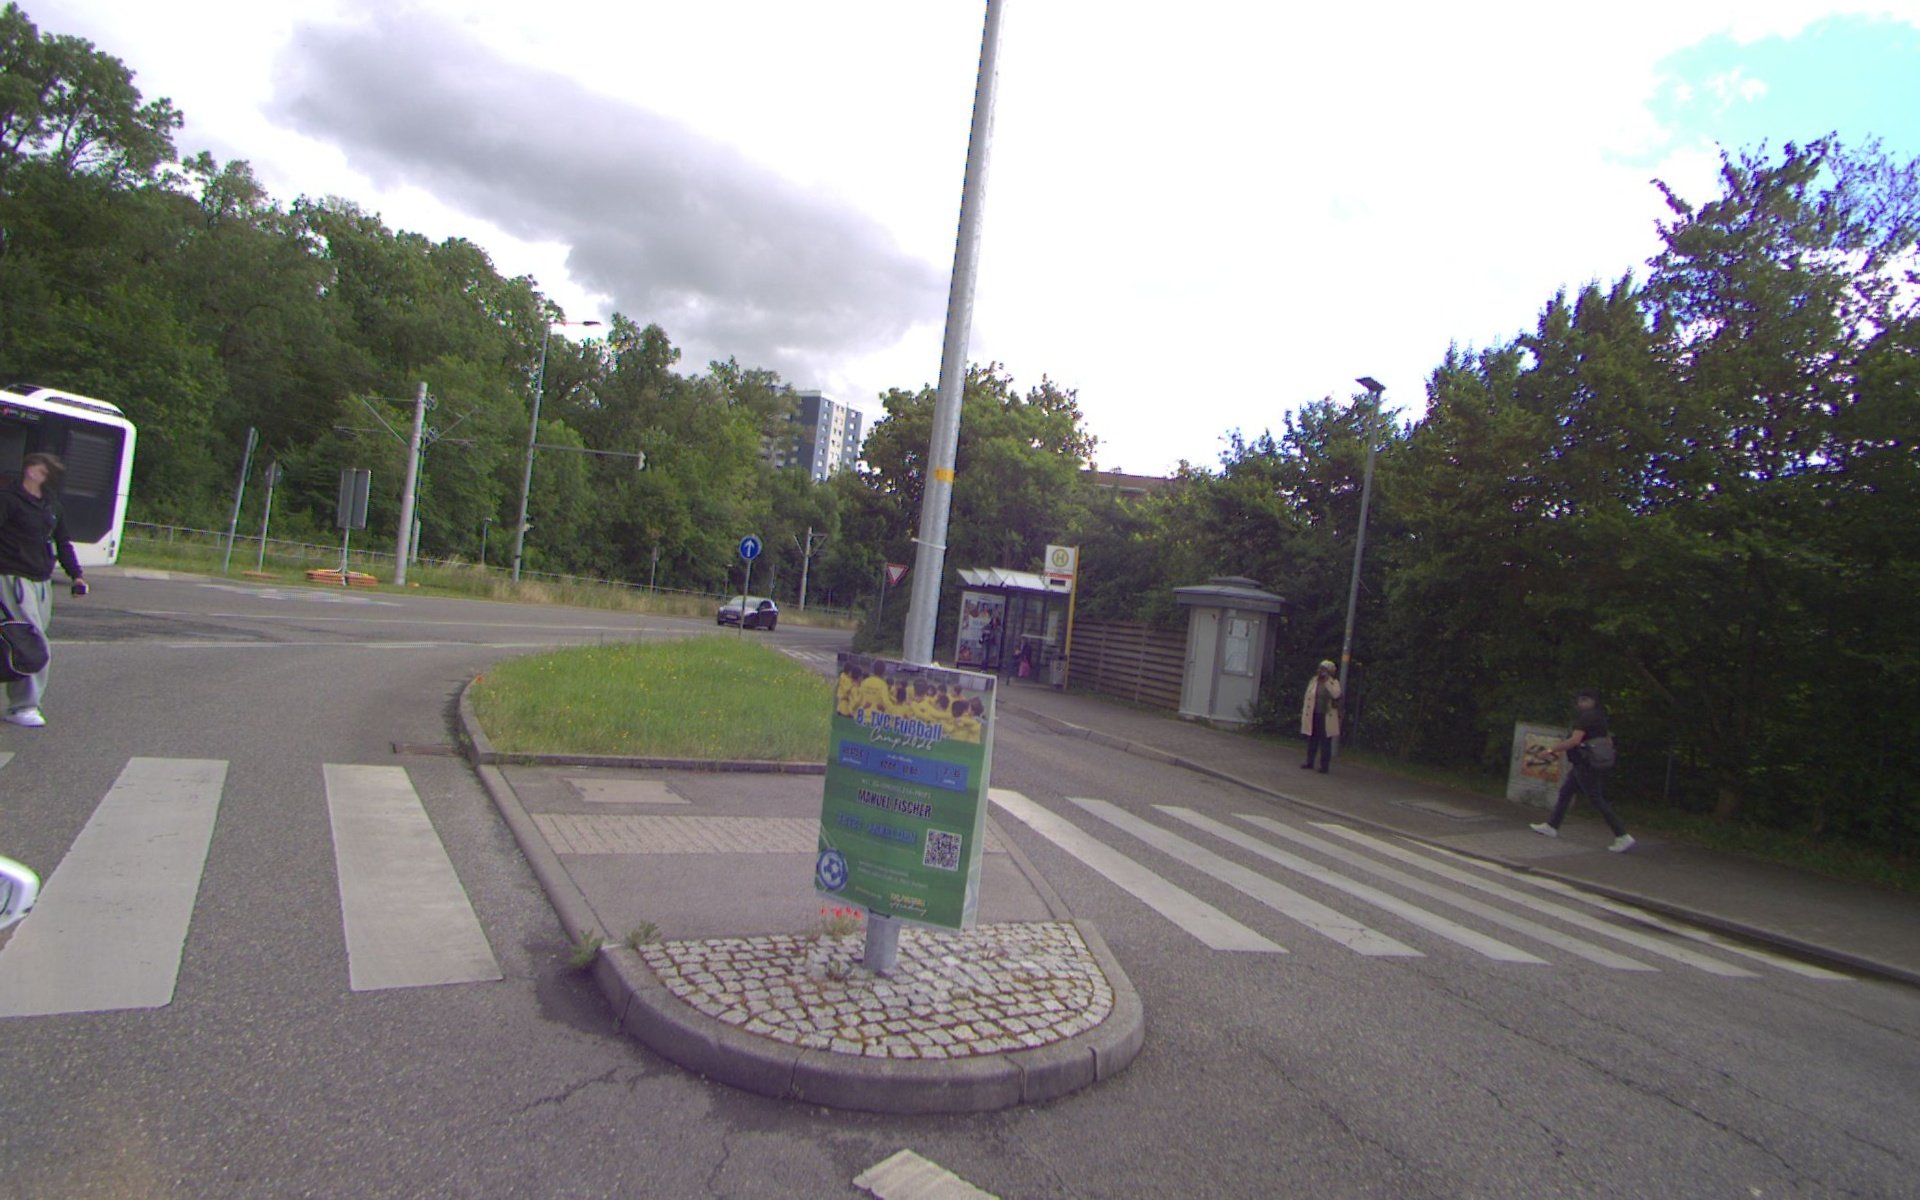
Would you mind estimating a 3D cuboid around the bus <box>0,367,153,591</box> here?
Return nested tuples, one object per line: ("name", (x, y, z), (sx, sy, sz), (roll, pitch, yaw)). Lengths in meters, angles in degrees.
("bus", (-16.333, -2.199, 11.620), (2.624, 3.240, 12.211), (7, -1, 8))

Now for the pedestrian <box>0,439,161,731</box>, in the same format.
("pedestrian", (-6.203, -0.115, 6.585), (1.042, 1.767, 0.958), (7, -1, 20))

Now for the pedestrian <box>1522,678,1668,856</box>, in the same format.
("pedestrian", (7.298, 1.909, 11.590), (0.848, 1.844, 0.977), (7, 0, -30))

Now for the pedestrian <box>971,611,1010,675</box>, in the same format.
("pedestrian", (0.834, 1.177, 27.930), (0.759, 1.669, 0.685), (7, 0, -11))

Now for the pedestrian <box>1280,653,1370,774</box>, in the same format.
("pedestrian", (5.361, 1.664, 14.816), (0.678, 1.614, 0.766), (7, 3, -24))

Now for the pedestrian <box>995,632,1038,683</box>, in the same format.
("pedestrian", (1.448, 1.471, 25.978), (0.740, 1.184, 0.768), (7, -1, -21))

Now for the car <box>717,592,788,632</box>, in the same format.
("car", (-9.478, 0.597, 46.334), (1.728, 1.451, 4.433), (7, -2, 7))
